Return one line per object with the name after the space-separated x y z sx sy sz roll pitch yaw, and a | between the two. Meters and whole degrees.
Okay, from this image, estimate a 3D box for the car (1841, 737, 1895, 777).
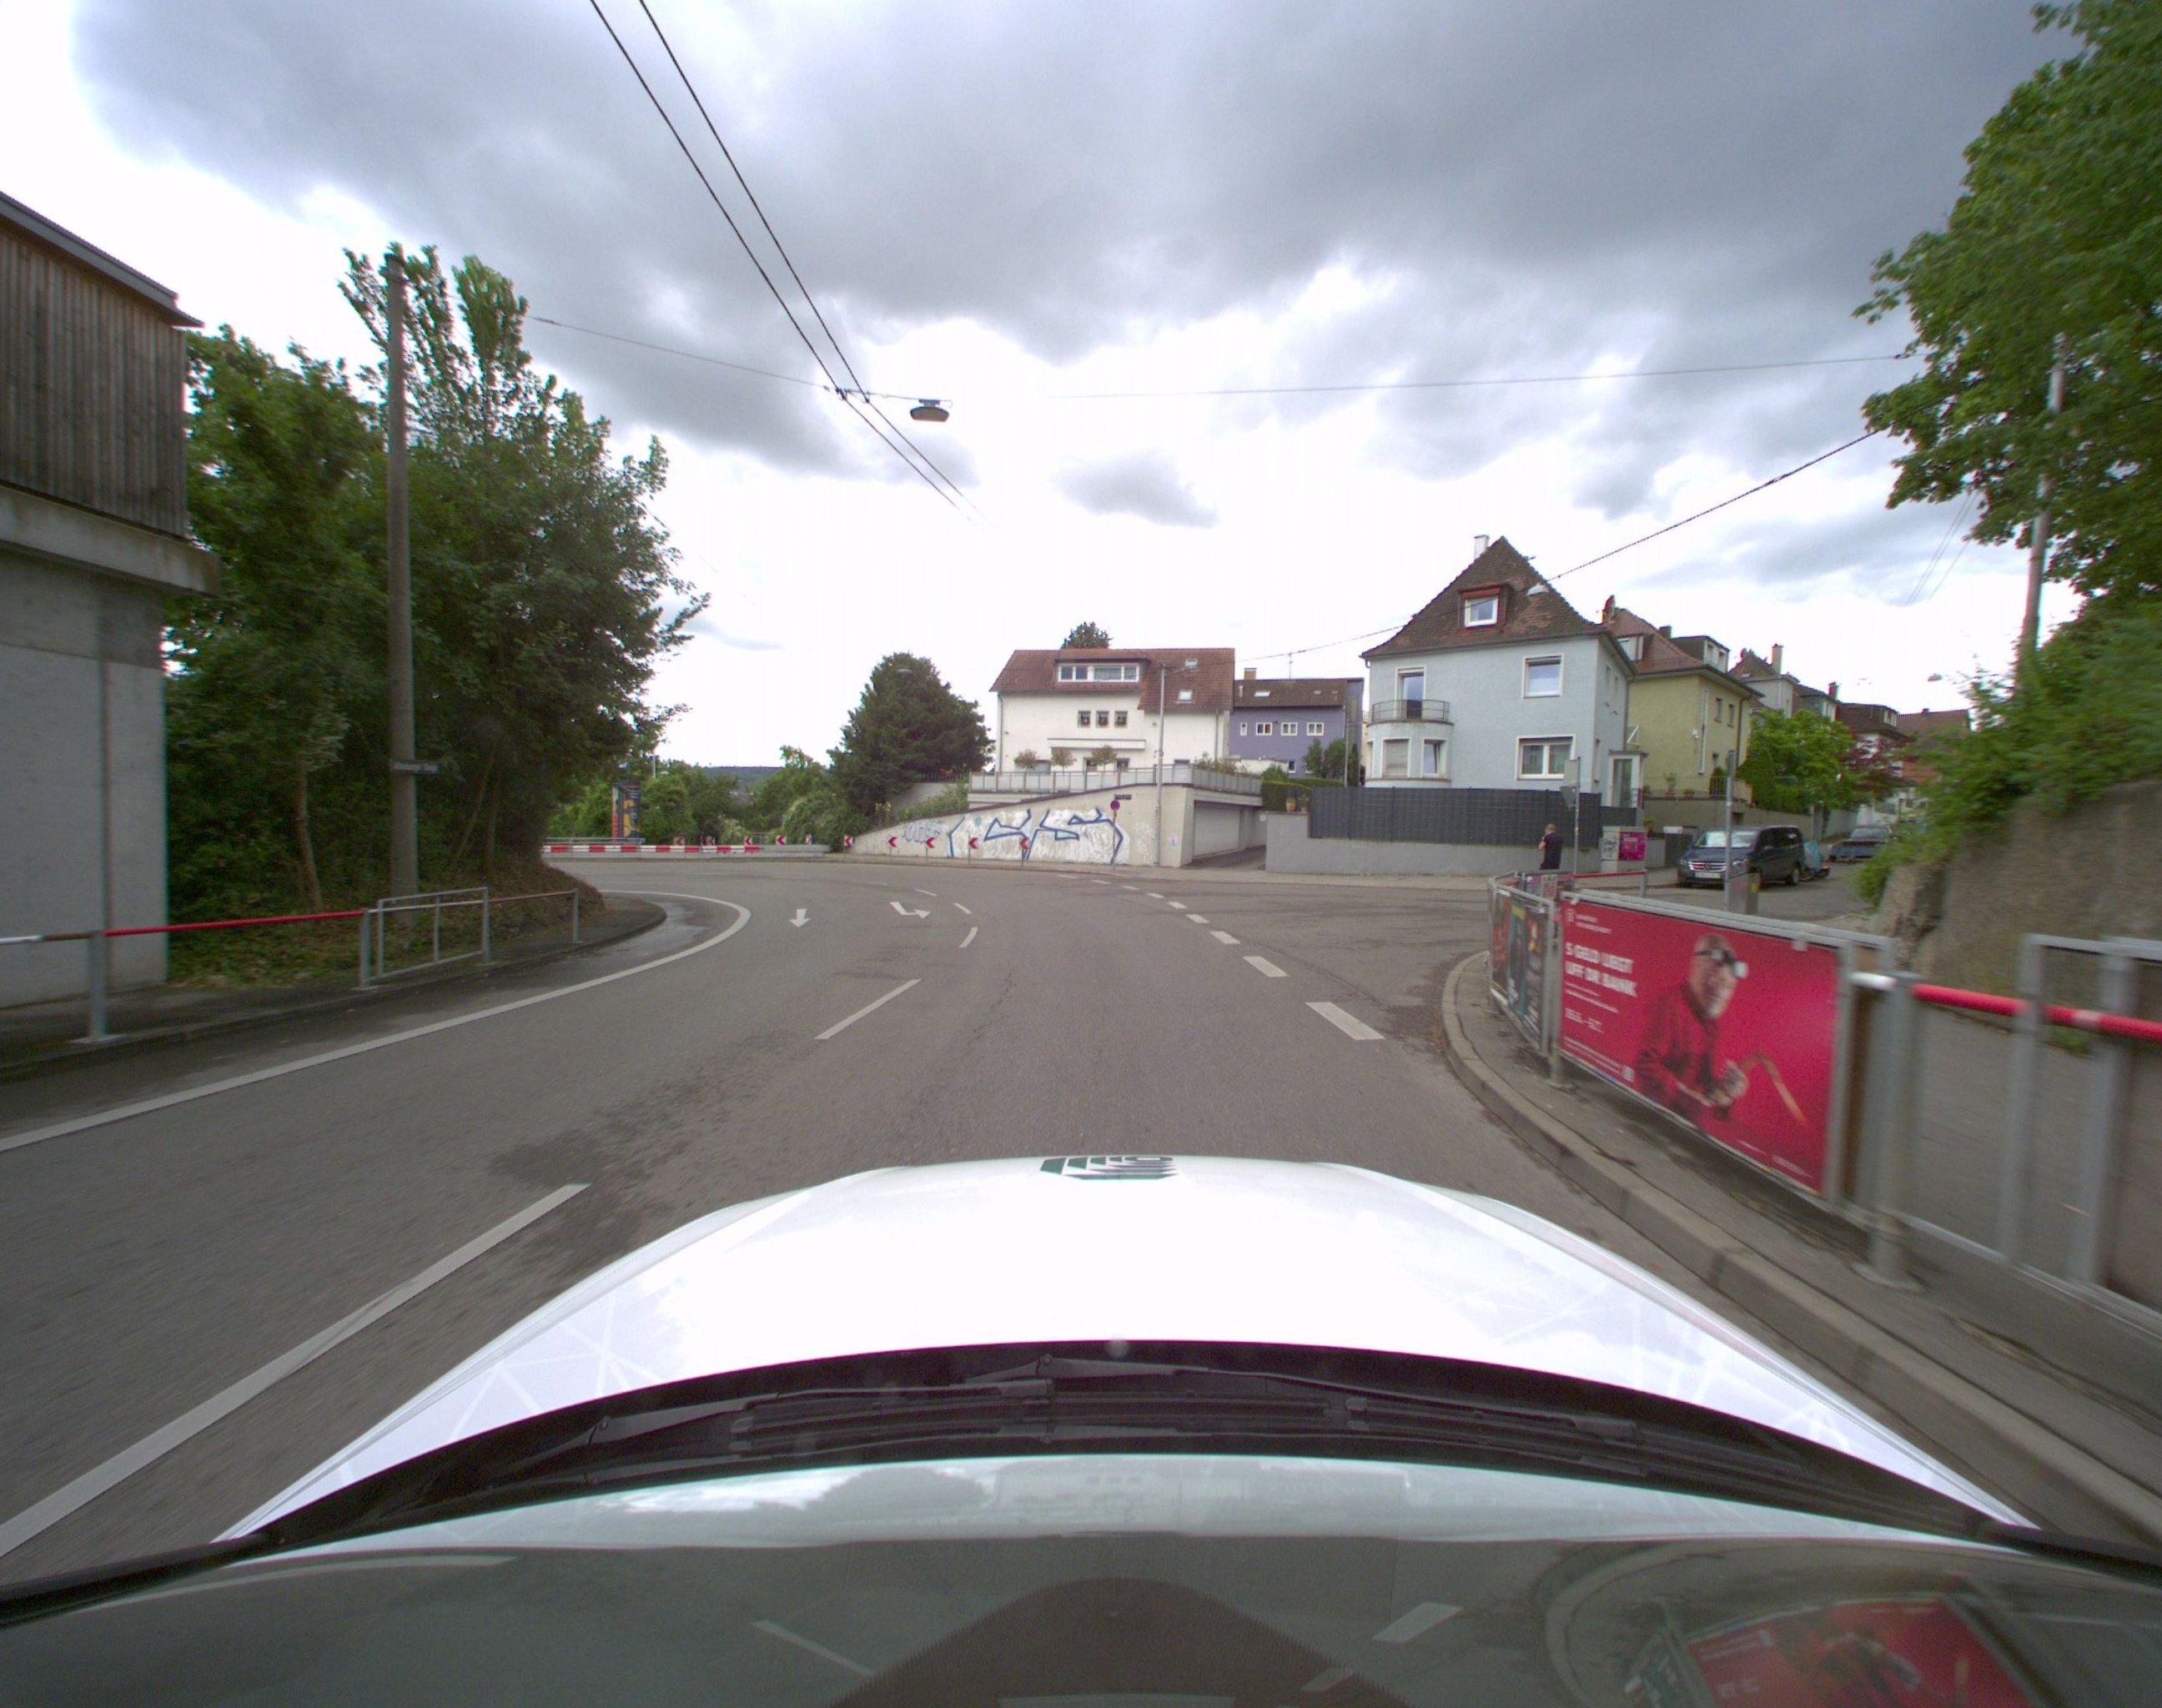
50.313 -6.165 52.039 4.019 2.014 1.977 2 -1 -38 | car

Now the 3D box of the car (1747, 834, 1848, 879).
24.964 0.049 28.326 4.017 1.359 1.752 -2 2 -35 | car

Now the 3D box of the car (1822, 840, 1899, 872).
35.110 0.062 36.651 3.826 1.342 1.977 -1 1 -38 | car

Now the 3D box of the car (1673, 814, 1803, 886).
20.067 -0.067 24.839 4.016 2.014 2.068 2 -1 -35 | car

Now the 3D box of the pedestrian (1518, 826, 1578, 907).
10.752 0.258 18.756 0.826 1.810 1.003 -1 2 -43 | pedestrian
